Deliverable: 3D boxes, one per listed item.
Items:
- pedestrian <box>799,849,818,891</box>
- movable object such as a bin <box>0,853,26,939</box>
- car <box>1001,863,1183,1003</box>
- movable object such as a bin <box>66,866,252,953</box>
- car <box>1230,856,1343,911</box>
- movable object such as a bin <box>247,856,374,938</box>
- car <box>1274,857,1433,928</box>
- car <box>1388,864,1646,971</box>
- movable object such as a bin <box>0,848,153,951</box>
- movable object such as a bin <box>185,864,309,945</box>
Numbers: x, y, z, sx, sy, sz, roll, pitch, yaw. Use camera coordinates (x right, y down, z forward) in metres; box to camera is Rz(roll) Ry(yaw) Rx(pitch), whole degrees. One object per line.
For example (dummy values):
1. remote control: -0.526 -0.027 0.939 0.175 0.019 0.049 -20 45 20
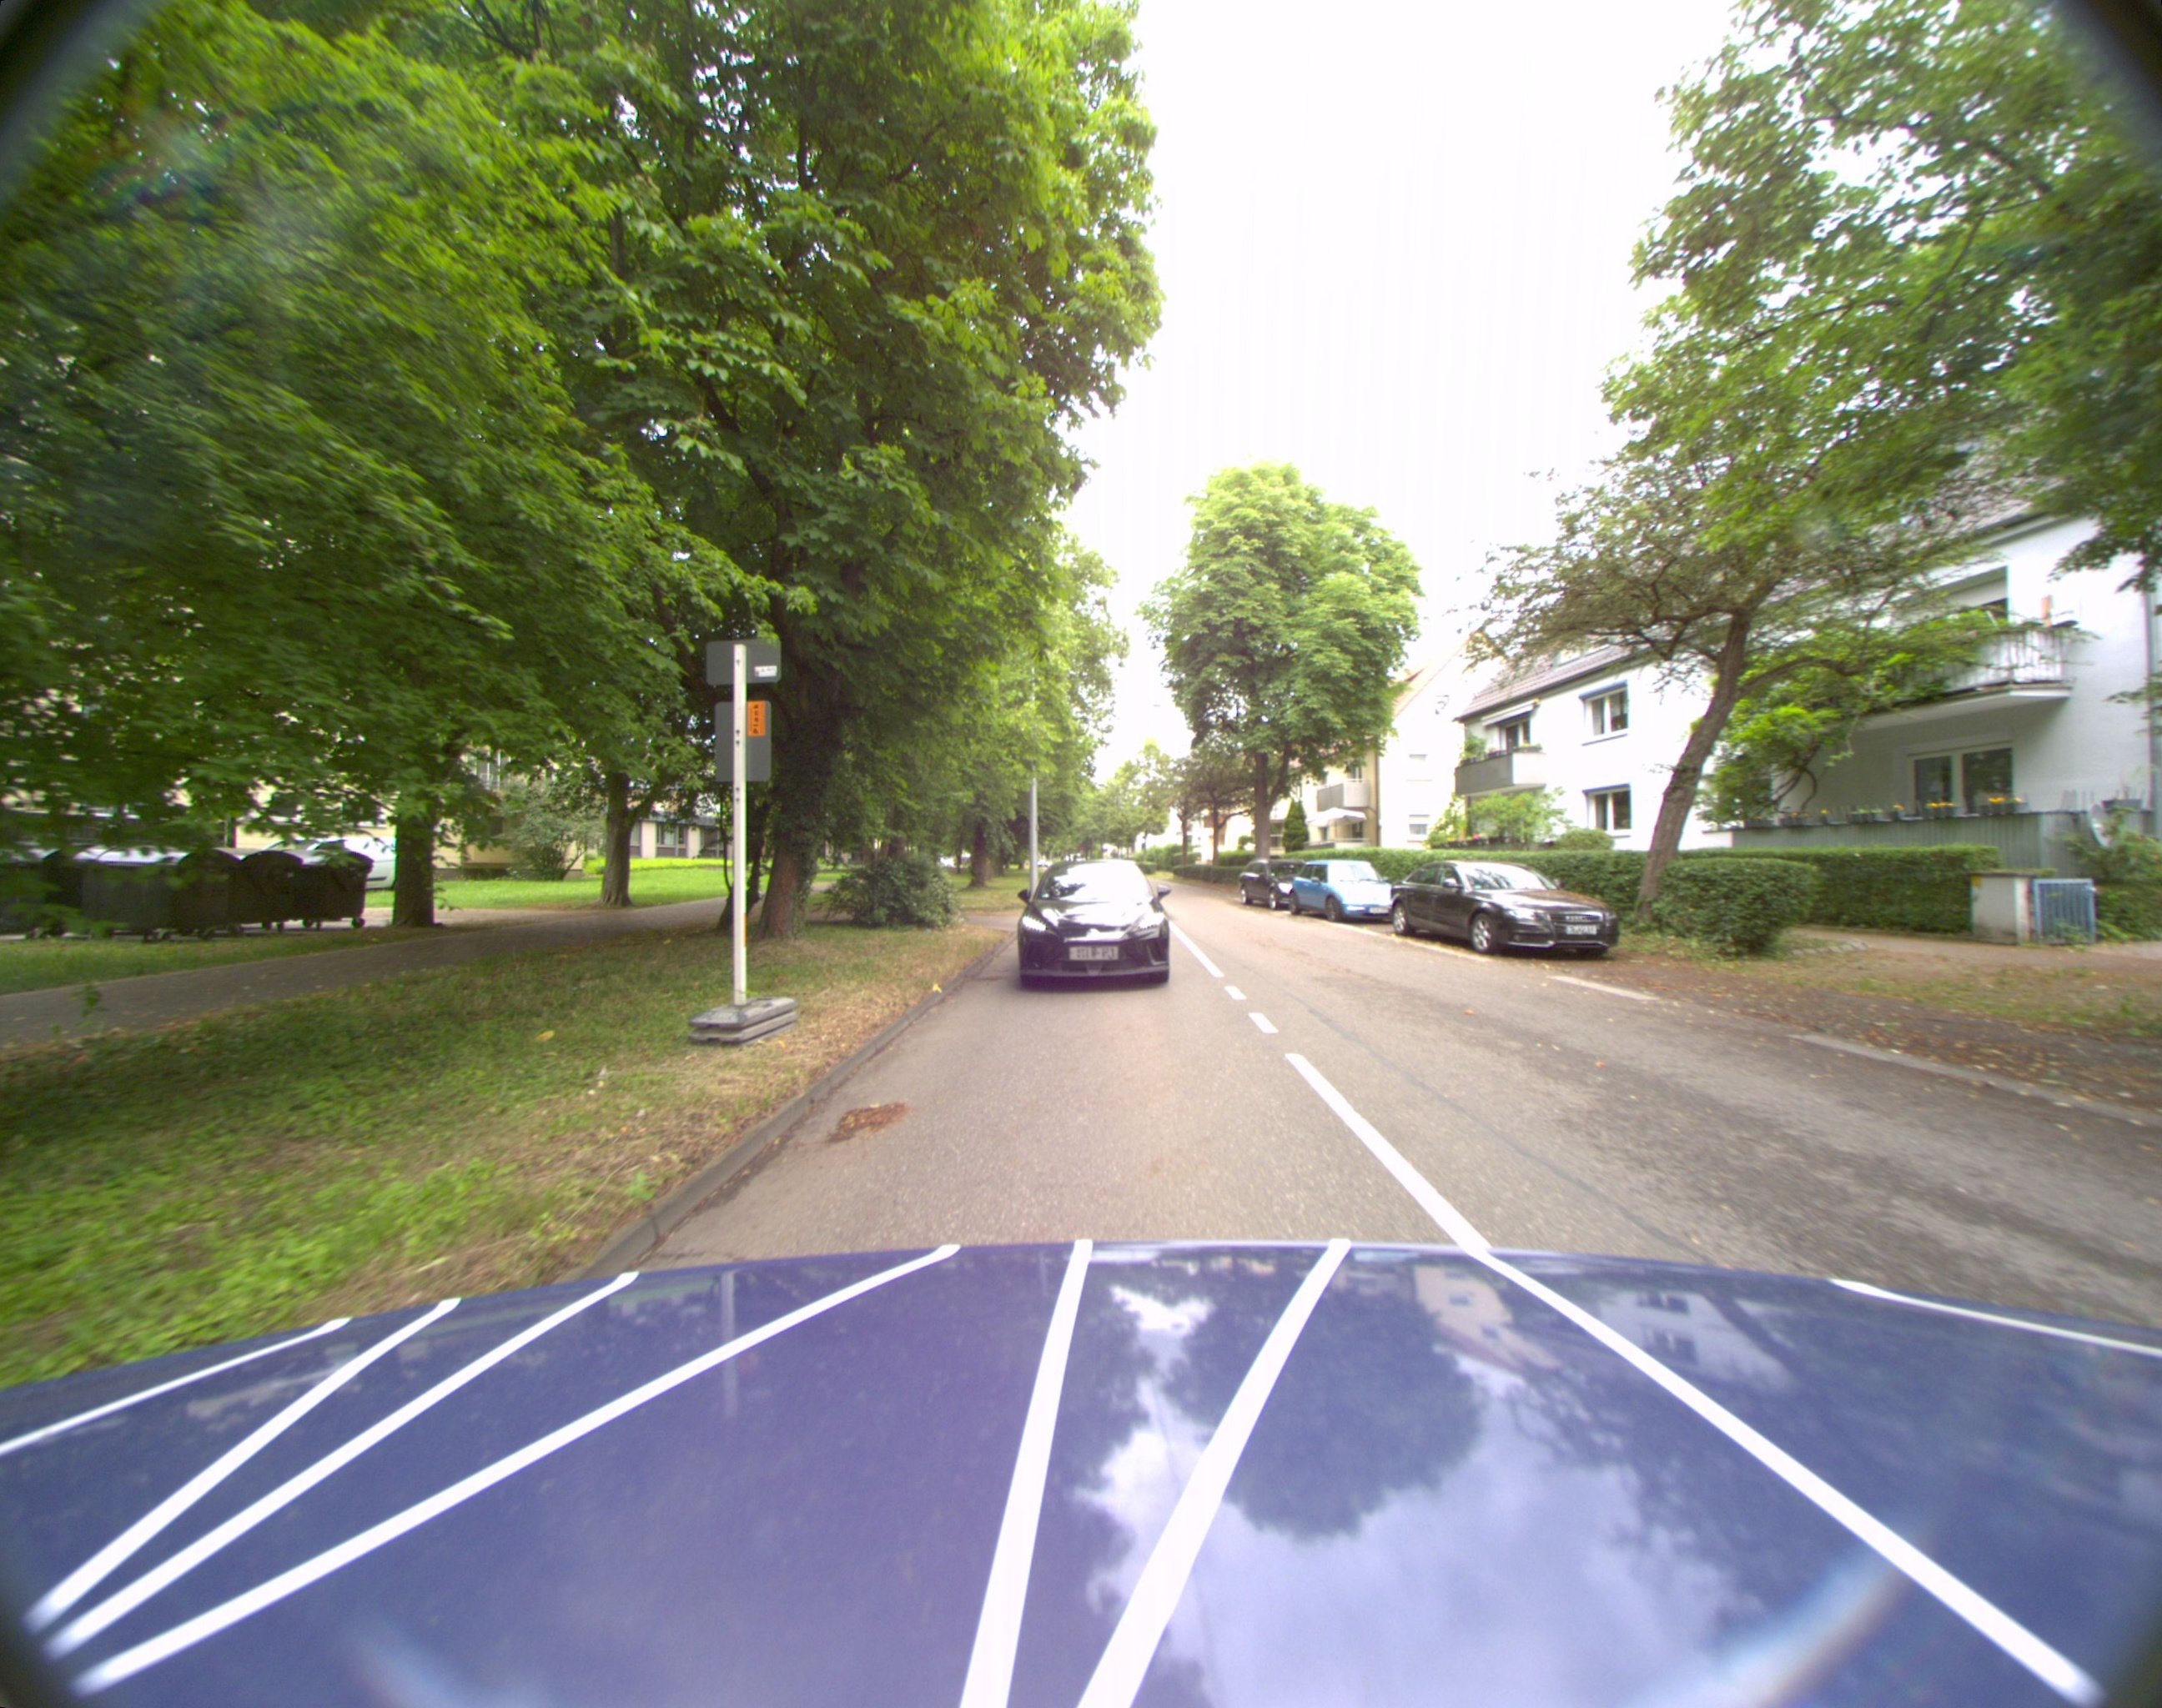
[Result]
1. pedestrian: -11.482 0.658 31.979 0.565 1.730 0.570 1 0 -2
2. movable object such as a bin: -17.152 0.641 11.236 1.195 1.334 1.347 1 0 -9
3. car: 0.075 0.905 10.681 1.999 1.491 4.614 0 0 -1
4. movable object such as a bin: -13.902 0.804 11.532 1.195 1.213 1.347 1 0 -9
5. car: 6.089 0.815 23.122 1.889 1.524 4.564 0 0 -5
6. movable object such as a bin: -13.959 0.755 13.823 1.195 1.405 1.110 1 0 -9
7. car: 6.364 0.832 18.376 1.889 1.492 4.564 0 0 -5
8. car: 6.747 0.891 12.365 1.736 1.395 4.171 0 0 -1
9. movable object such as a bin: -15.211 0.636 11.298 1.195 1.448 1.347 1 0 -9
10. movable object such as a bin: -13.923 0.819 12.730 1.026 1.296 0.959 1 0 -9
